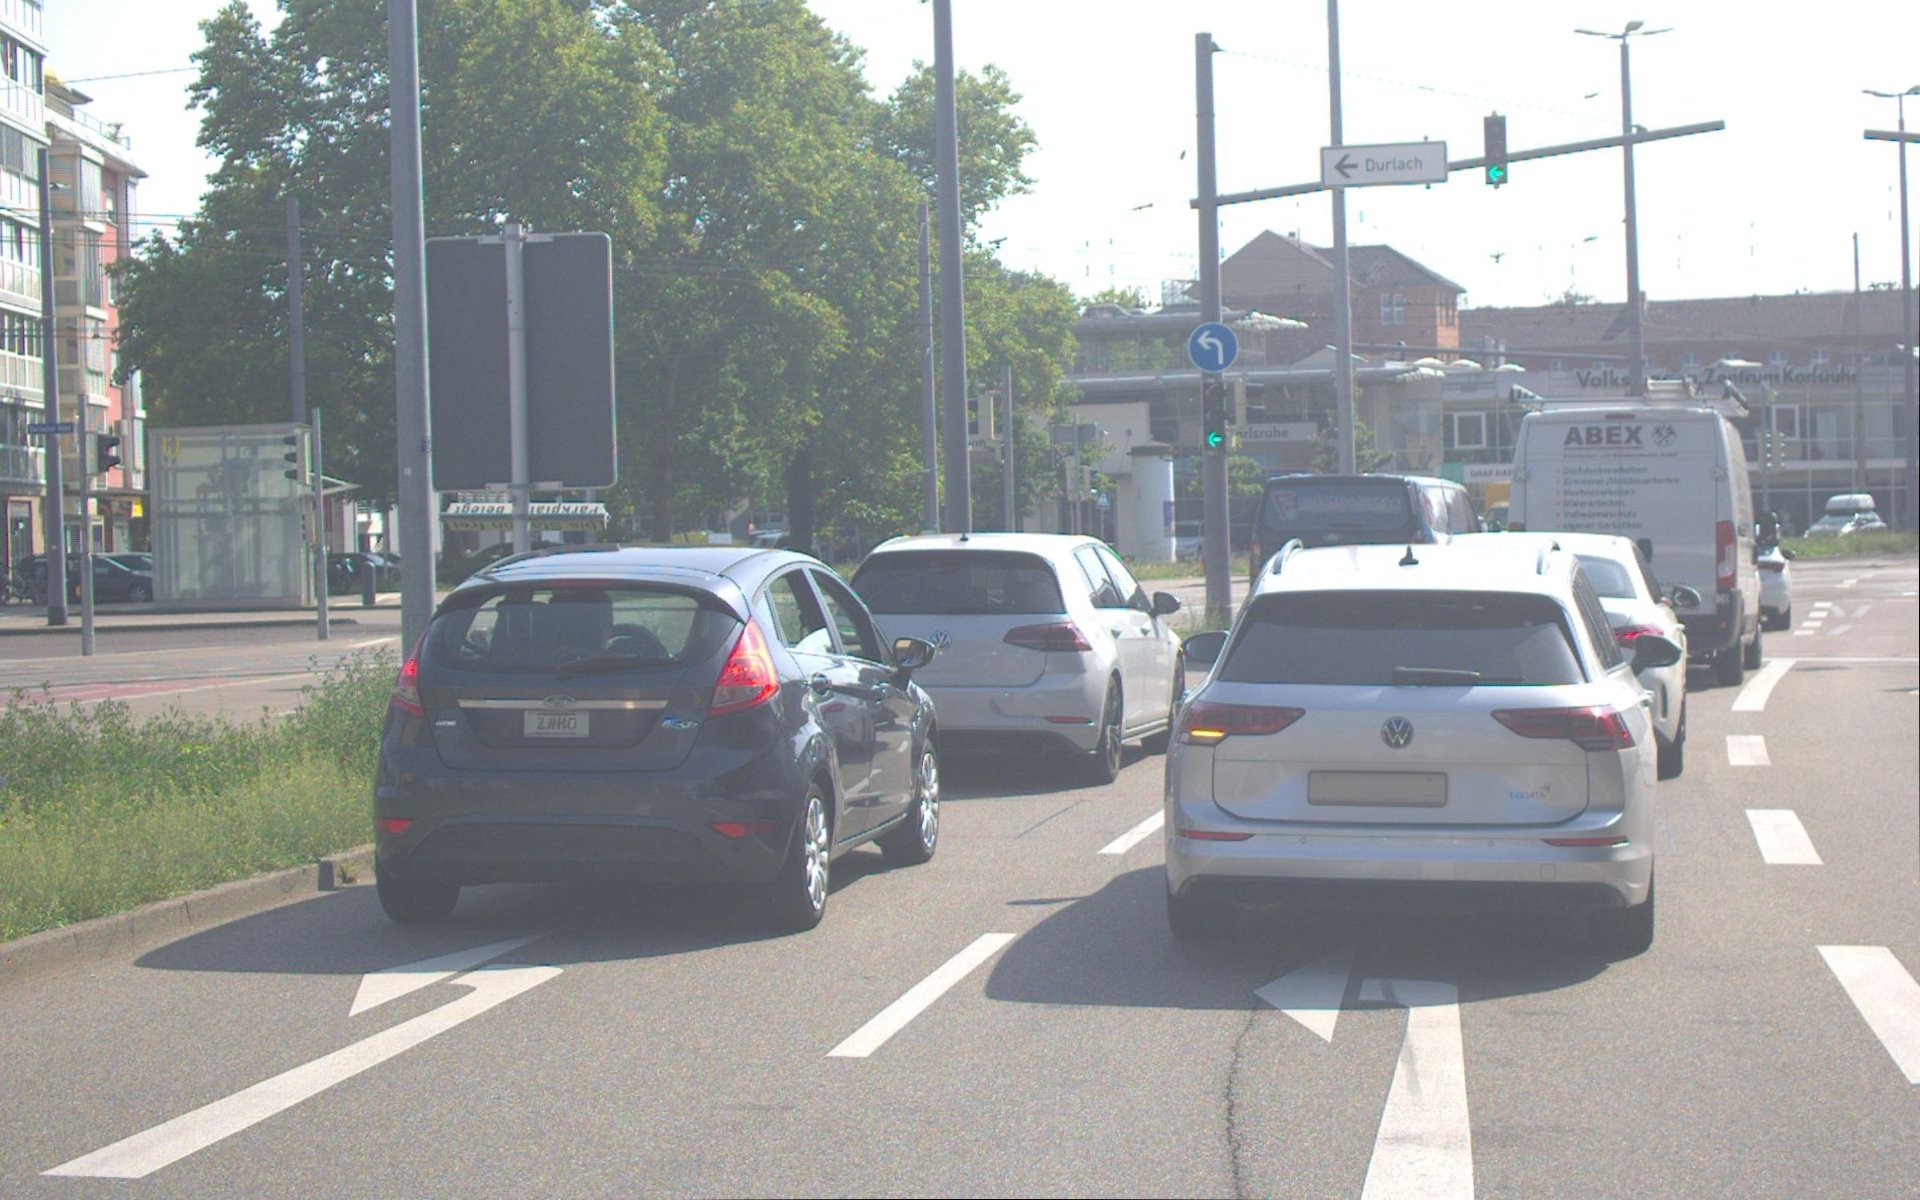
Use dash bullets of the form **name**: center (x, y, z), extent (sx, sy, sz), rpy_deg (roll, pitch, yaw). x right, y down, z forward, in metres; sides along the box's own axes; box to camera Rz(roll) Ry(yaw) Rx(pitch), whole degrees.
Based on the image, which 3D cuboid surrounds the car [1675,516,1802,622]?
- **car**: center (10.804, -0.451, 47.720), extent (1.638, 1.398, 3.685), rpy_deg (-1, 1, 13)

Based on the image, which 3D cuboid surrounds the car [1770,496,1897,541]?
- **car**: center (30.418, -2.835, 119.737), extent (3.987, 1.437, 2.000), rpy_deg (-2, 1, -29)

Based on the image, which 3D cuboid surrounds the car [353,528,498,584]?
- **car**: center (-15.585, -1.287, 100.331), extent (3.986, 1.552, 1.728), rpy_deg (-1, 1, -2)

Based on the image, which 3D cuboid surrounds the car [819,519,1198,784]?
- **car**: center (0.382, 0.249, 20.739), extent (1.490, 1.410, 3.646), rpy_deg (-1, 2, 14)

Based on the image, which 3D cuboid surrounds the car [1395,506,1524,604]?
- **car**: center (8.024, -0.717, 55.004), extent (1.623, 1.497, 4.086), rpy_deg (0, 1, 14)

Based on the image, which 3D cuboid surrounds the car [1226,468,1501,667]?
- **car**: center (4.437, -0.378, 37.161), extent (2.025, 2.001, 4.679), rpy_deg (0, 1, 18)

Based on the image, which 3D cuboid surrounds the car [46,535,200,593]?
- **car**: center (-24.226, -1.055, 99.613), extent (3.986, 1.552, 1.869), rpy_deg (-1, 1, -2)

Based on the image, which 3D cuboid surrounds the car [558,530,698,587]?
- **car**: center (-10.009, -1.269, 103.866), extent (3.987, 1.612, 1.813), rpy_deg (-1, 1, 2)

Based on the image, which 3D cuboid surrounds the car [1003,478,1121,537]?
- **car**: center (3.692, -3.354, 123.974), extent (3.988, 2.006, 2.000), rpy_deg (0, 4, 9)

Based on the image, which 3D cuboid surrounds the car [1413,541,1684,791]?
- **car**: center (3.696, 0.345, 21.255), extent (1.489, 1.398, 3.940), rpy_deg (0, 1, 12)

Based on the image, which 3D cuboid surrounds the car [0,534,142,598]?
- **car**: center (-24.252, -0.913, 92.603), extent (3.987, 1.552, 1.869), rpy_deg (-1, 4, -1)

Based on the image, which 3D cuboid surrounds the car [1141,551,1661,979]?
- **car**: center (1.798, 0.515, 13.064), extent (1.686, 1.383, 3.632), rpy_deg (0, 1, 12)

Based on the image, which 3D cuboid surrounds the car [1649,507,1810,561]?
- **car**: center (20.466, -1.757, 91.541), extent (3.966, 1.337, 1.930), rpy_deg (-1, 1, 6)

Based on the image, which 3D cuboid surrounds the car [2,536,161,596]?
- **car**: center (-24.432, -0.956, 95.647), extent (3.941, 1.552, 1.794), rpy_deg (-1, 1, -1)

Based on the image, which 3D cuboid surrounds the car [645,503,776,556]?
- **car**: center (-7.765, -2.185, 107.074), extent (3.986, 1.552, 1.728), rpy_deg (-1, 1, -2)

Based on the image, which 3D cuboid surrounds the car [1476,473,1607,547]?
- **car**: center (16.497, -2.570, 97.422), extent (1.997, 2.007, 4.656), rpy_deg (-1, 1, 32)

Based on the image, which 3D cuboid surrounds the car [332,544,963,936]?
- **car**: center (-1.124, 0.470, 14.217), extent (1.702, 1.363, 3.962), rpy_deg (-1, 1, 8)

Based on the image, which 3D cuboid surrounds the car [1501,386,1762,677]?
- **car**: center (6.436, -0.626, 32.563), extent (2.190, 2.540, 4.681), rpy_deg (0, 1, 14)
